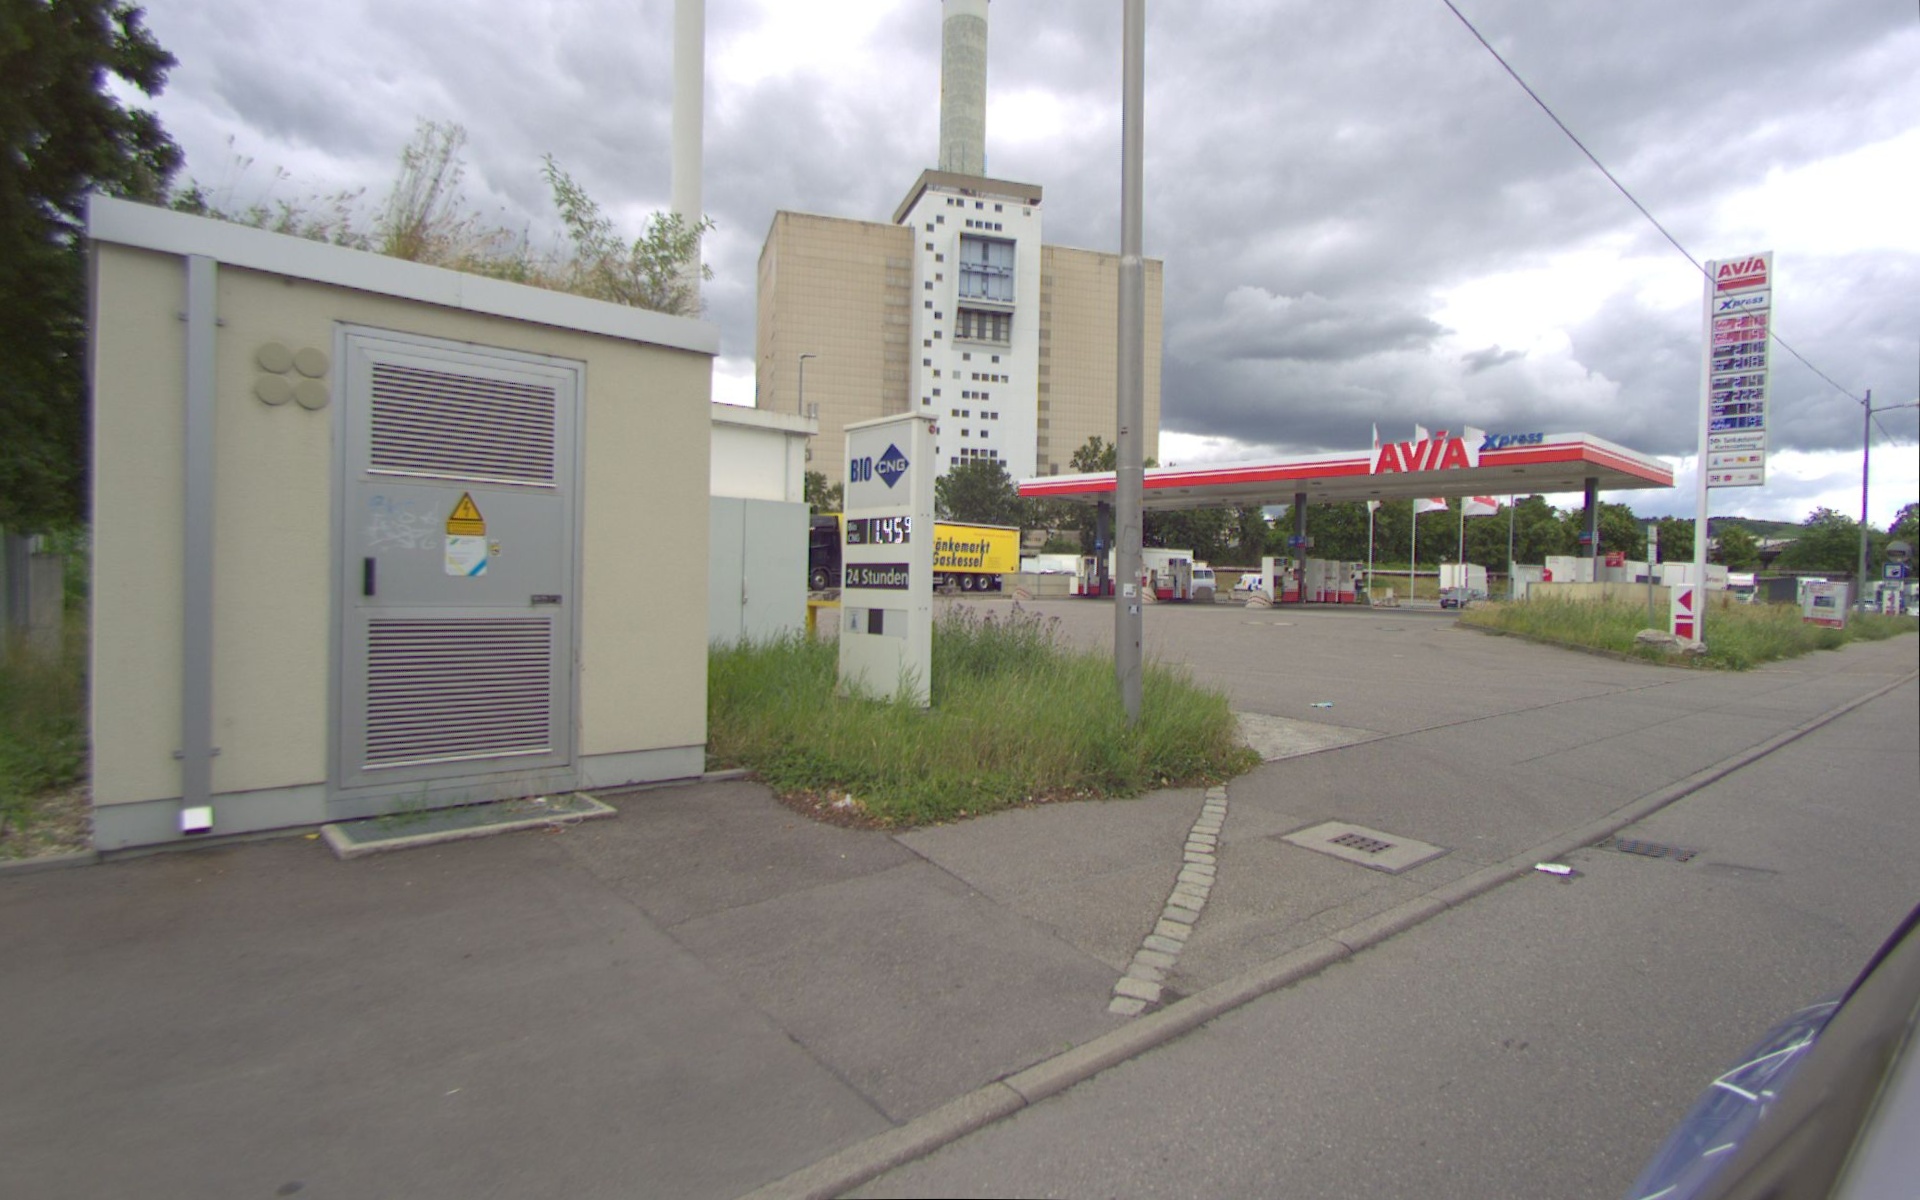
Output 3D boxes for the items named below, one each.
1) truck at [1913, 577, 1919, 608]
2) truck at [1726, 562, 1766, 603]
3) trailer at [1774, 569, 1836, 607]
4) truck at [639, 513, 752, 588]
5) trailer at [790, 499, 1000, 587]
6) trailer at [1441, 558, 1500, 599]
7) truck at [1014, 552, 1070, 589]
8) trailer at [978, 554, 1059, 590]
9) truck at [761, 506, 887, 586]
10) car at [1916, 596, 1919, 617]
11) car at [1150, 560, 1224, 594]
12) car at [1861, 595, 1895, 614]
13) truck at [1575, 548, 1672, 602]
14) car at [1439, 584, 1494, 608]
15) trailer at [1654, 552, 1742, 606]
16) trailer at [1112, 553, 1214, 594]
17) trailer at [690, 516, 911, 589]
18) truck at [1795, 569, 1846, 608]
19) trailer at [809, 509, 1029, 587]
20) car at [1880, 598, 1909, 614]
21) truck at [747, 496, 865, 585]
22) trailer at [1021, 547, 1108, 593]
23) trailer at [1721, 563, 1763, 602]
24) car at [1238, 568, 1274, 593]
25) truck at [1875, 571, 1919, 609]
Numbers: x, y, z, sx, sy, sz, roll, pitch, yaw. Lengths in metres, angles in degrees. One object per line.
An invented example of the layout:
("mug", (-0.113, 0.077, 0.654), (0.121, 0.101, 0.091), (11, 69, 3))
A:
("truck", (111.393, -0.793, 115.242), (2.855, 3.675, 6.676), (3, 2, 33))
("truck", (84.867, -1.882, 109.417), (2.856, 4.145, 6.672), (3, 2, 35))
("trailer", (99.366, -1.380, 119.283), (2.815, 4.145, 13.263), (3, 2, 28))
("truck", (-16.154, -2.990, 61.939), (5.938, 4.315, 3.048), (0, 2, -43))
("trailer", (-3.615, -3.303, 62.243), (14.059, 4.781, 3.004), (0, 2, -43))
("trailer", (53.284, -2.179, 105.296), (3.619, 3.959, 13.566), (2, 1, 35))
("truck", (8.481, -3.025, 105.340), (3.633, 3.602, 7.272), (1, 1, -14))
("trailer", (6.255, -3.164, 114.231), (3.566, 3.590, 18.543), (1, 1, -14))
("truck", (-7.175, -2.801, 53.646), (5.938, 3.963, 2.961), (0, 2, -43))
("car", (69.034, 0.487, 71.524), (4.481, 1.482, 1.776), (0, 1, -42))
("car", (13.982, -1.401, 62.261), (4.866, 1.936, 1.986), (1, 1, -42))
("car", (78.847, 0.411, 86.881), (3.931, 1.591, 1.767), (0, -1, -42))
("truck", (53.418, -1.928, 81.295), (12.842, 4.015, 3.081), (0, 3, -42))
("car", (32.931, -0.280, 65.780), (4.143, 1.407, 1.768), (0, 3, -42))
("trailer", (59.175, -1.647, 81.017), (10.216, 4.015, 2.966), (0, 3, -39))
("trailer", (22.423, -2.987, 113.977), (3.566, 4.224, 18.542), (1, 1, -14))
("trailer", (-10.171, -2.957, 67.430), (15.458, 4.313, 3.025), (0, 2, -43))
("truck", (95.971, -1.290, 112.958), (2.850, 4.145, 6.688), (3, 2, 29))
("trailer", (-1.964, -2.812, 58.471), (14.059, 3.963, 3.004), (0, 2, -43))
("car", (88.770, 0.556, 96.133), (3.980, 1.513, 1.496), (0, 1, -40))
("truck", (-8.715, -3.288, 57.533), (5.938, 4.757, 2.961), (0, 2, -43))
("trailer", (11.112, -3.242, 110.993), (3.484, 4.557, 18.330), (0, 1, -14))
("trailer", (88.297, -1.909, 114.413), (2.822, 4.145, 13.230), (3, 2, 34))
("car", (35.577, -2.351, 121.775), (2.064, 2.872, 5.097), (1, 1, -10))
("truck", (106.409, -1.160, 114.735), (2.855, 4.063, 6.676), (3, 2, 33))
